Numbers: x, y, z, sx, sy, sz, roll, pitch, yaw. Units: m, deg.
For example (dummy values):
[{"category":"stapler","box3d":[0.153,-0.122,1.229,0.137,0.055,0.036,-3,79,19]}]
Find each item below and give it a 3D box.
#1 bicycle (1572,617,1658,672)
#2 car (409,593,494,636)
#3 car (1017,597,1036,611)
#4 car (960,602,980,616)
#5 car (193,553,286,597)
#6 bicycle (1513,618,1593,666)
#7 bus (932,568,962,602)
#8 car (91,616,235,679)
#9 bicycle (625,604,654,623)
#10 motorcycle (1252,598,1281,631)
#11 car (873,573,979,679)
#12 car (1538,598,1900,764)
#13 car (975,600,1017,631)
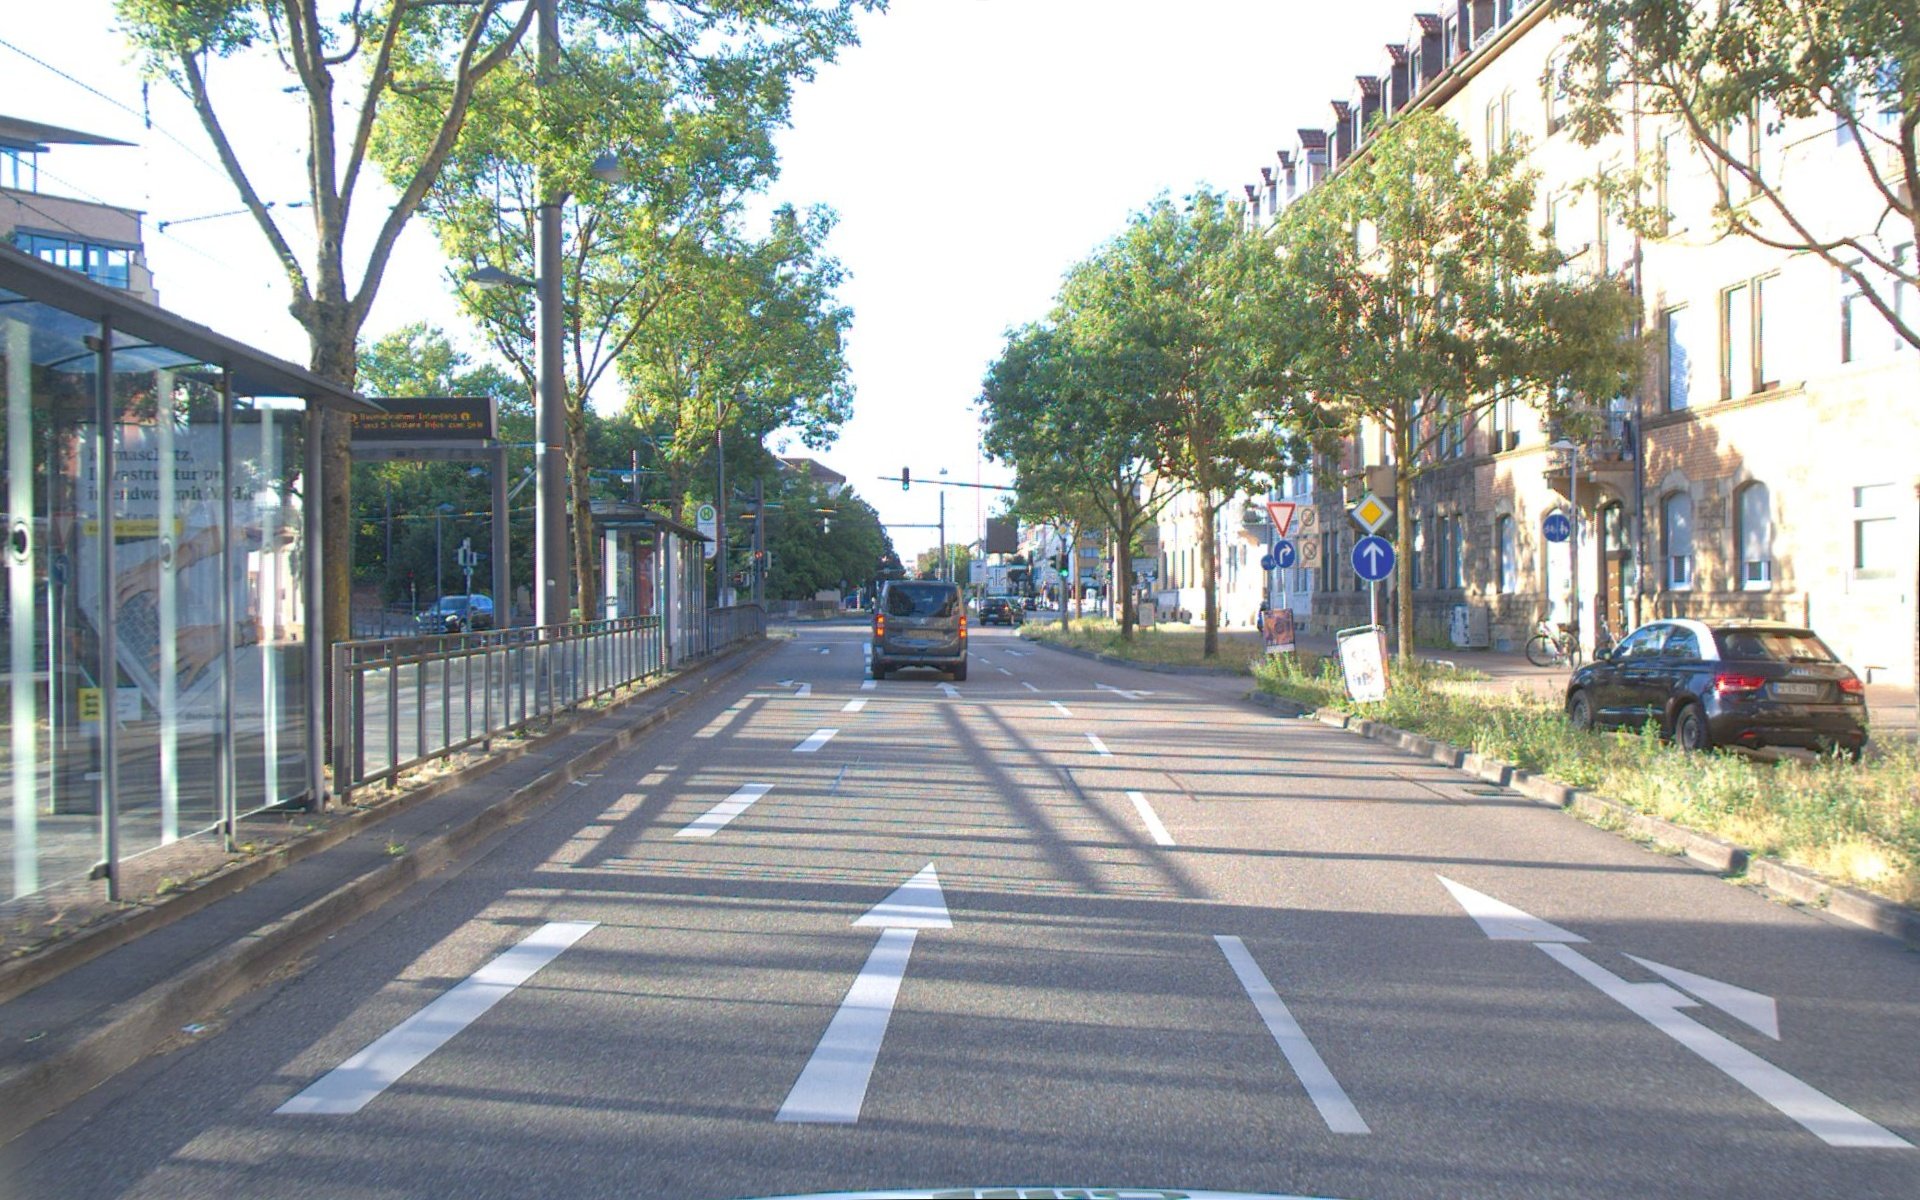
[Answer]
[{"category":"bicycle","box3d":[12.630,0.843,31.963,0.718,0.965,2.339,-2,0,0]},{"category":"car","box3d":[-19.751,0.534,64.424,1.953,1.579,4.892,0,0,-2]},{"category":"car","box3d":[7.861,0.466,196.731,1.953,1.685,4.297,-1,0,-2]},{"category":"car","box3d":[1.188,1.111,200.878,1.955,1.685,4.293,0,0,-6]},{"category":"car","box3d":[-24.836,-0.840,57.150,1.578,1.438,4.430,0,0,-5]},{"category":"bicycle","box3d":[12.348,0.862,34.505,0.854,0.932,2.084,-2,0,-2]},{"category":"bus","box3d":[-1.884,-2.117,238.275,3.227,4.698,9.986,1,0,-6]},{"category":"car","box3d":[-19.936,1.152,41.571,1.759,1.440,4.337,1,0,-4]},{"category":"bicycle","box3d":[-19.892,0.857,102.678,0.549,1.162,1.710,0,0,44]},{"category":"motorcycle","box3d":[11.795,0.555,63.725,0.543,1.235,2.070,1,0,-5]},{"category":"car","box3d":[-0.745,0.501,33.156,1.954,1.934,4.296,2,0,-3]},{"category":"car","box3d":[7.838,0.753,17.579,1.670,1.474,4.286,3,0,-3]},{"category":"car","box3d":[1.925,0.806,86.814,1.951,1.537,4.002,1,0,4]}]
